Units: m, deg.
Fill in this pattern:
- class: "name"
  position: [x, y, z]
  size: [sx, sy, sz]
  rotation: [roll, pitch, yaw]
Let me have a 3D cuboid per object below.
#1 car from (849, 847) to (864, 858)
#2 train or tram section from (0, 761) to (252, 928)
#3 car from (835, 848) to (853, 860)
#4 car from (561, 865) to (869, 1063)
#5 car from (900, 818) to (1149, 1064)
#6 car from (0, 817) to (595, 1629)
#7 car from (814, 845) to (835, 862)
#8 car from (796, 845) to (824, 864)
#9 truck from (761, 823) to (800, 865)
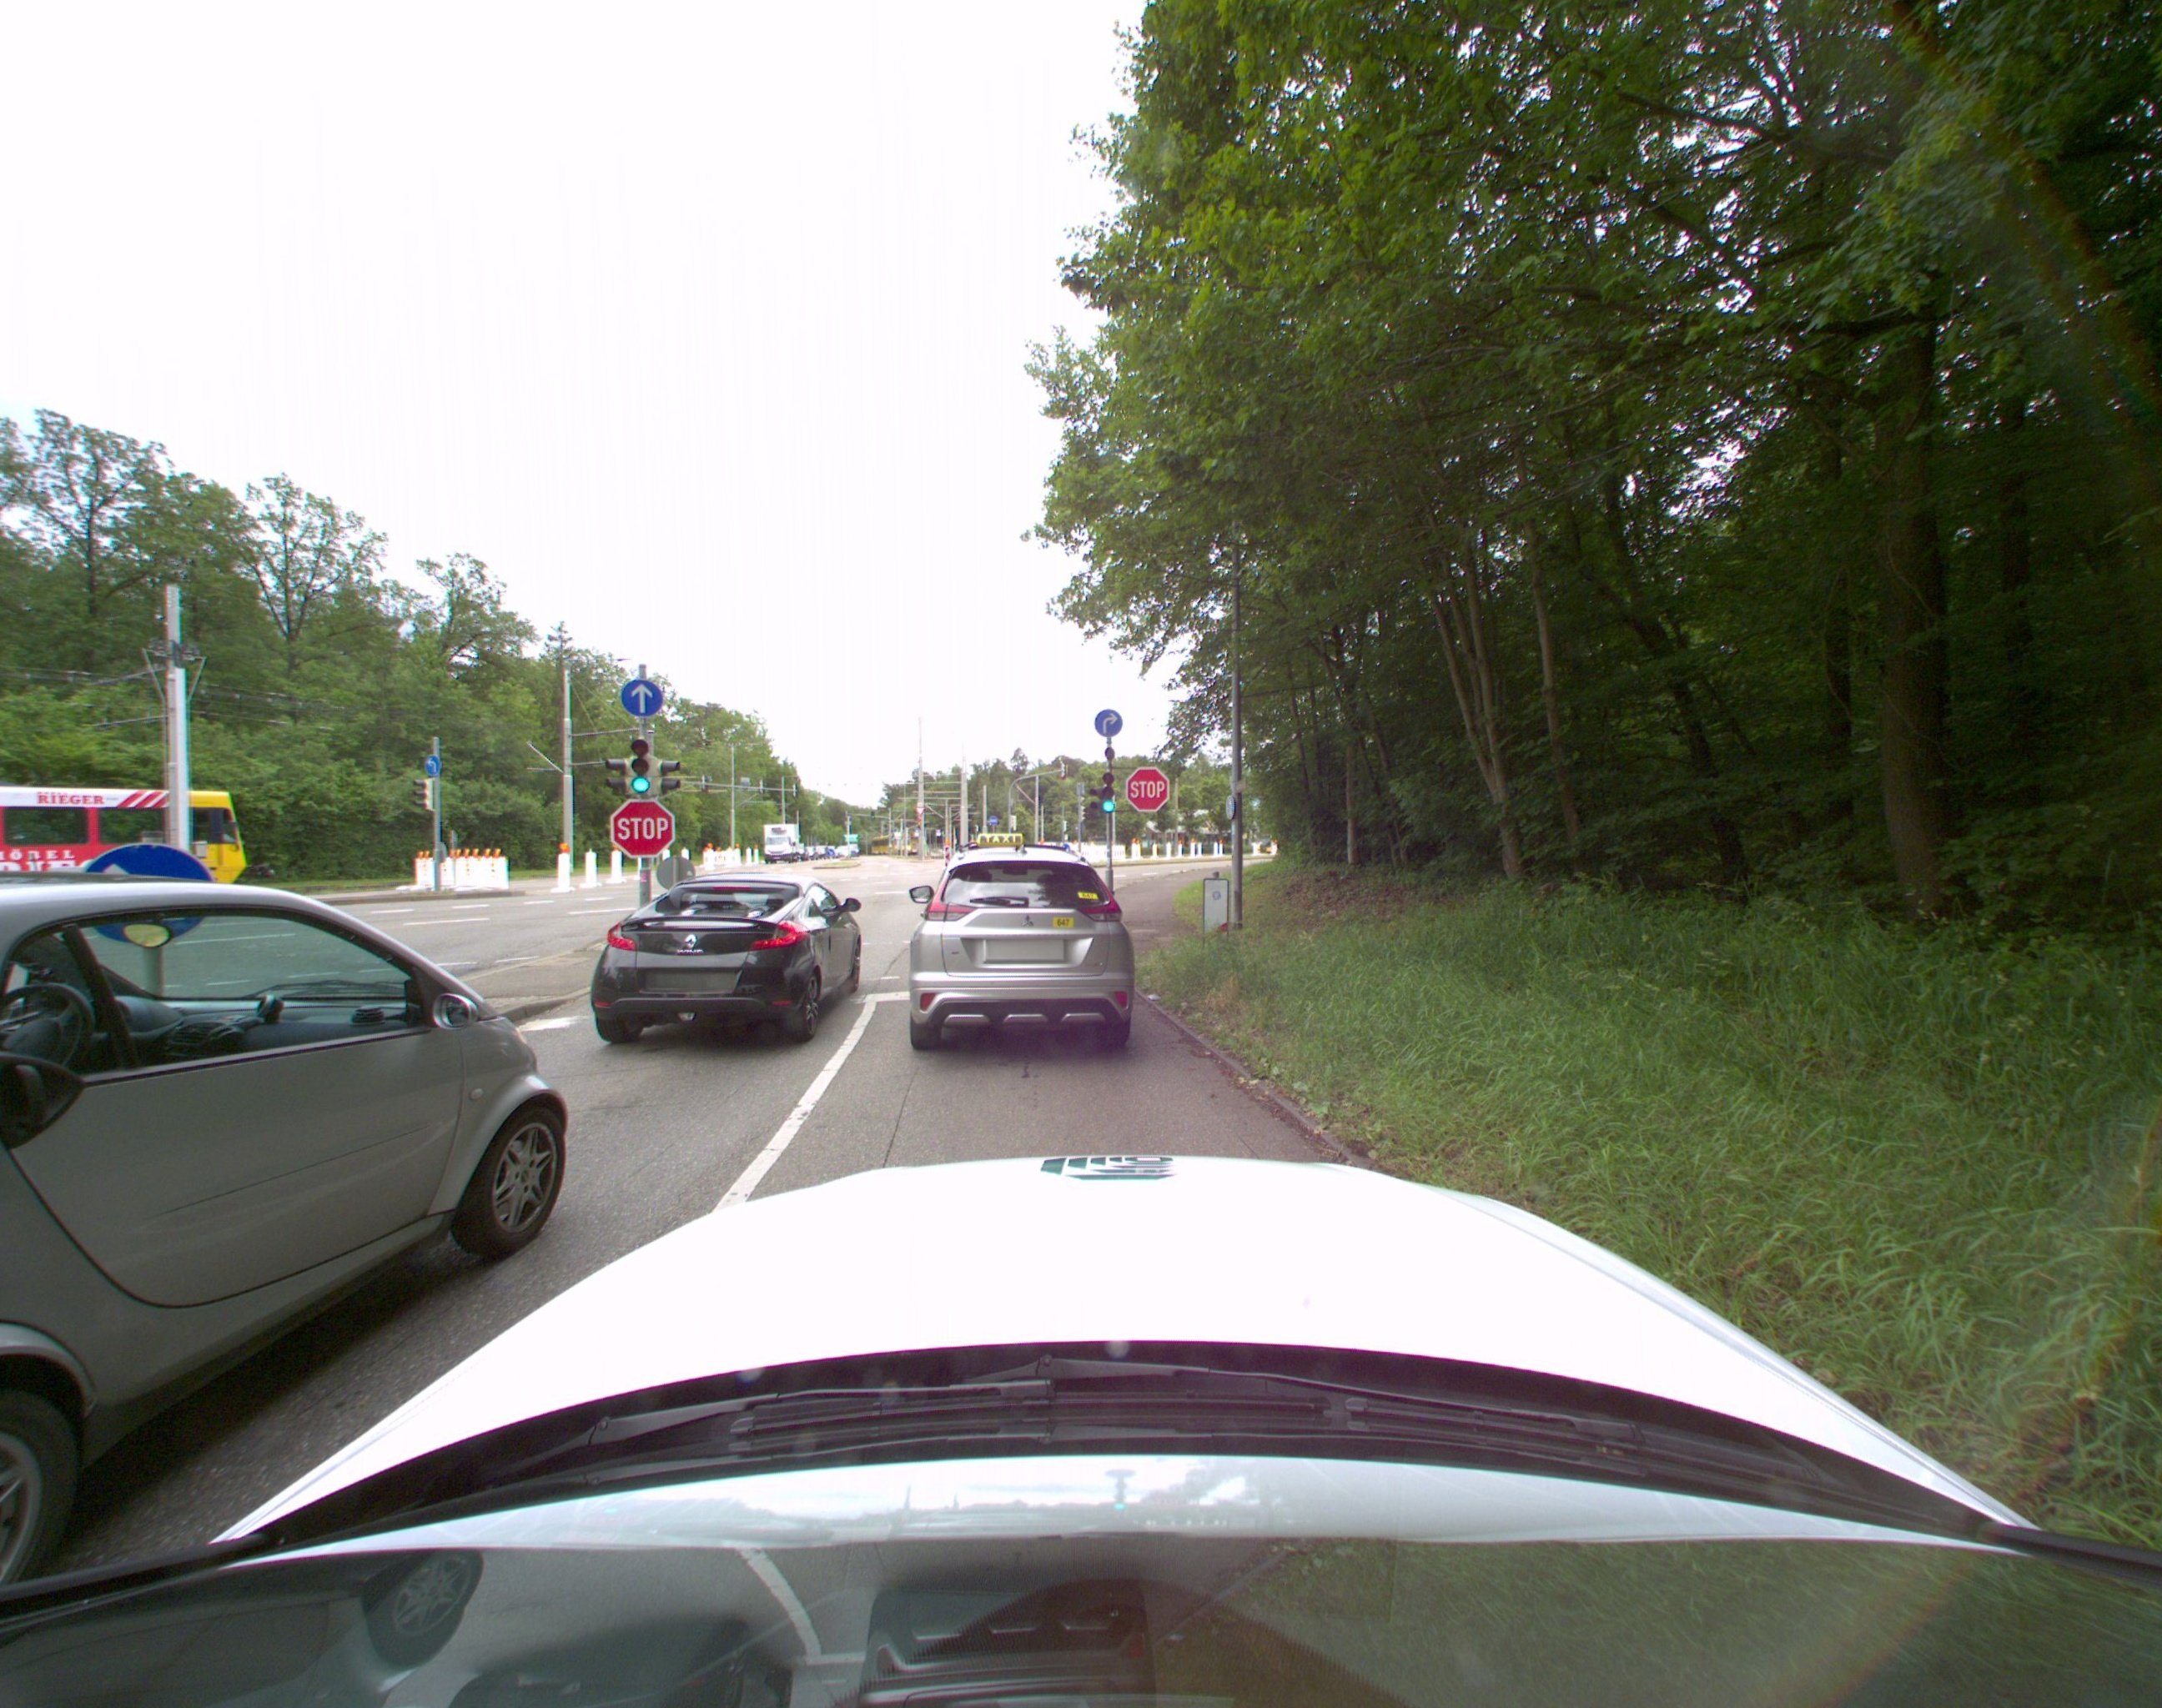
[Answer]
- class: "car"
  position: [-33.359, -0.260, 120.996]
  size: [1.964, 1.540, 4.292]
  rotation: [-1, 1, -13]
- class: "train or tram section"
  position: [-33.693, -0.291, 19.837]
  size: [2.918, 4.651, 18.662]
  rotation: [-1, -1, 34]
- class: "car"
  position: [-31.284, -0.004, 107.709]
  size: [1.964, 1.541, 4.377]
  rotation: [-1, 1, -13]
- class: "car"
  position: [-3.210, 0.842, 7.917]
  size: [1.773, 1.361, 3.467]
  rotation: [-1, 0, -8]
- class: "car"
  position: [-0.575, 0.623, 7.772]
  size: [1.771, 1.748, 3.773]
  rotation: [1, 0, -6]
- class: "car"
  position: [-2.901, 0.732, 2.330]
  size: [1.454, 1.586, 2.724]
  rotation: [-1, 0, -4]
- class: "car"
  position: [-29.796, -0.072, 94.691]
  size: [1.964, 1.845, 4.670]
  rotation: [-1, 1, -13]
- class: "car"
  position: [-26.881, 0.021, 80.924]
  size: [1.962, 1.750, 4.828]
  rotation: [-1, 1, -11]
- class: "truck"
  position: [-24.548, -0.792, 66.755]
  size: [2.454, 3.224, 7.115]
  rotation: [-2, 0, -17]
